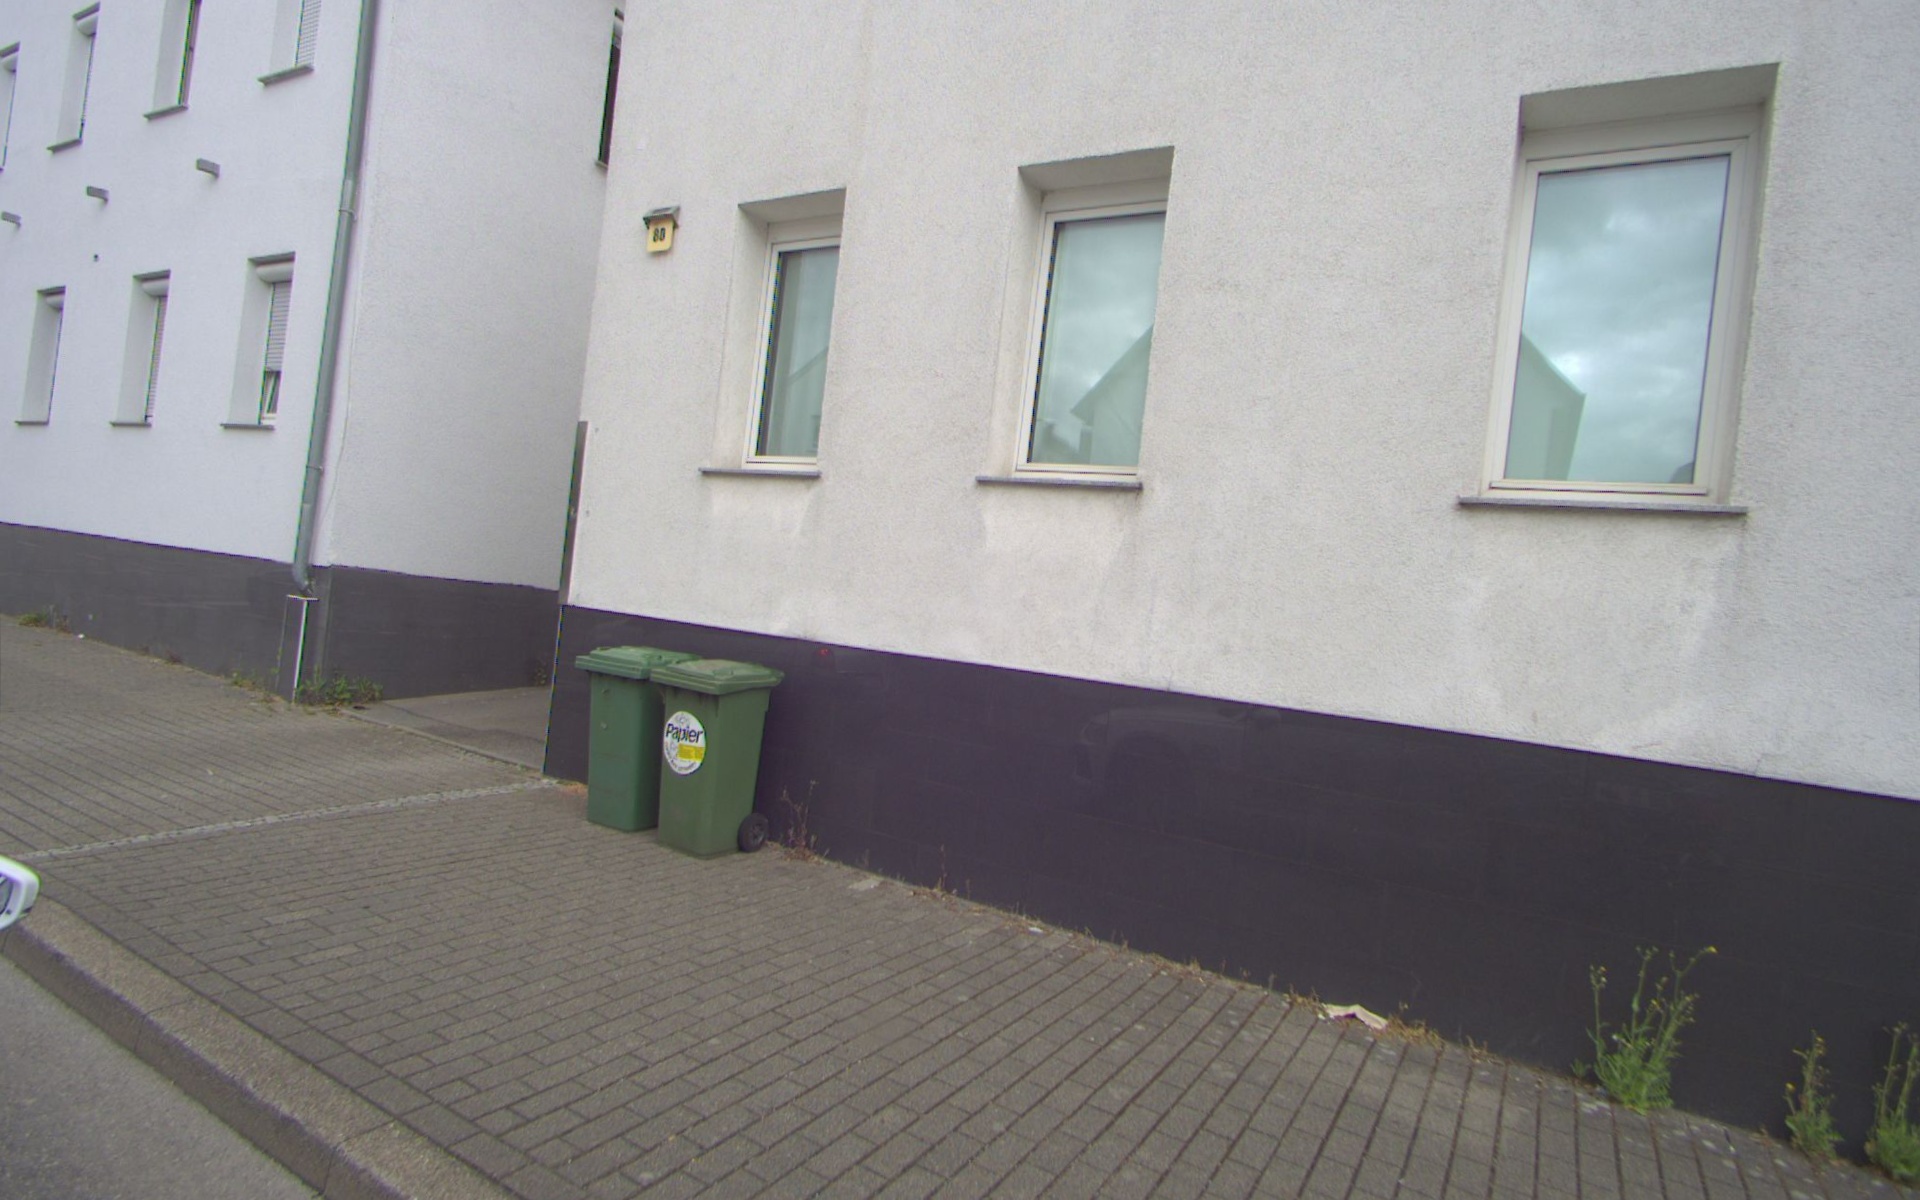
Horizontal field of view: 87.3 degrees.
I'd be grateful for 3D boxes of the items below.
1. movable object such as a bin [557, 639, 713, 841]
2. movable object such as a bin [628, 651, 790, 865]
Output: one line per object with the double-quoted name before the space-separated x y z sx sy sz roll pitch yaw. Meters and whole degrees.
"movable object such as a bin" -1.714 0.706 5.321 0.479 0.953 0.540 7 2 32
"movable object such as a bin" -1.256 0.760 5.064 0.479 0.953 0.540 7 2 32
